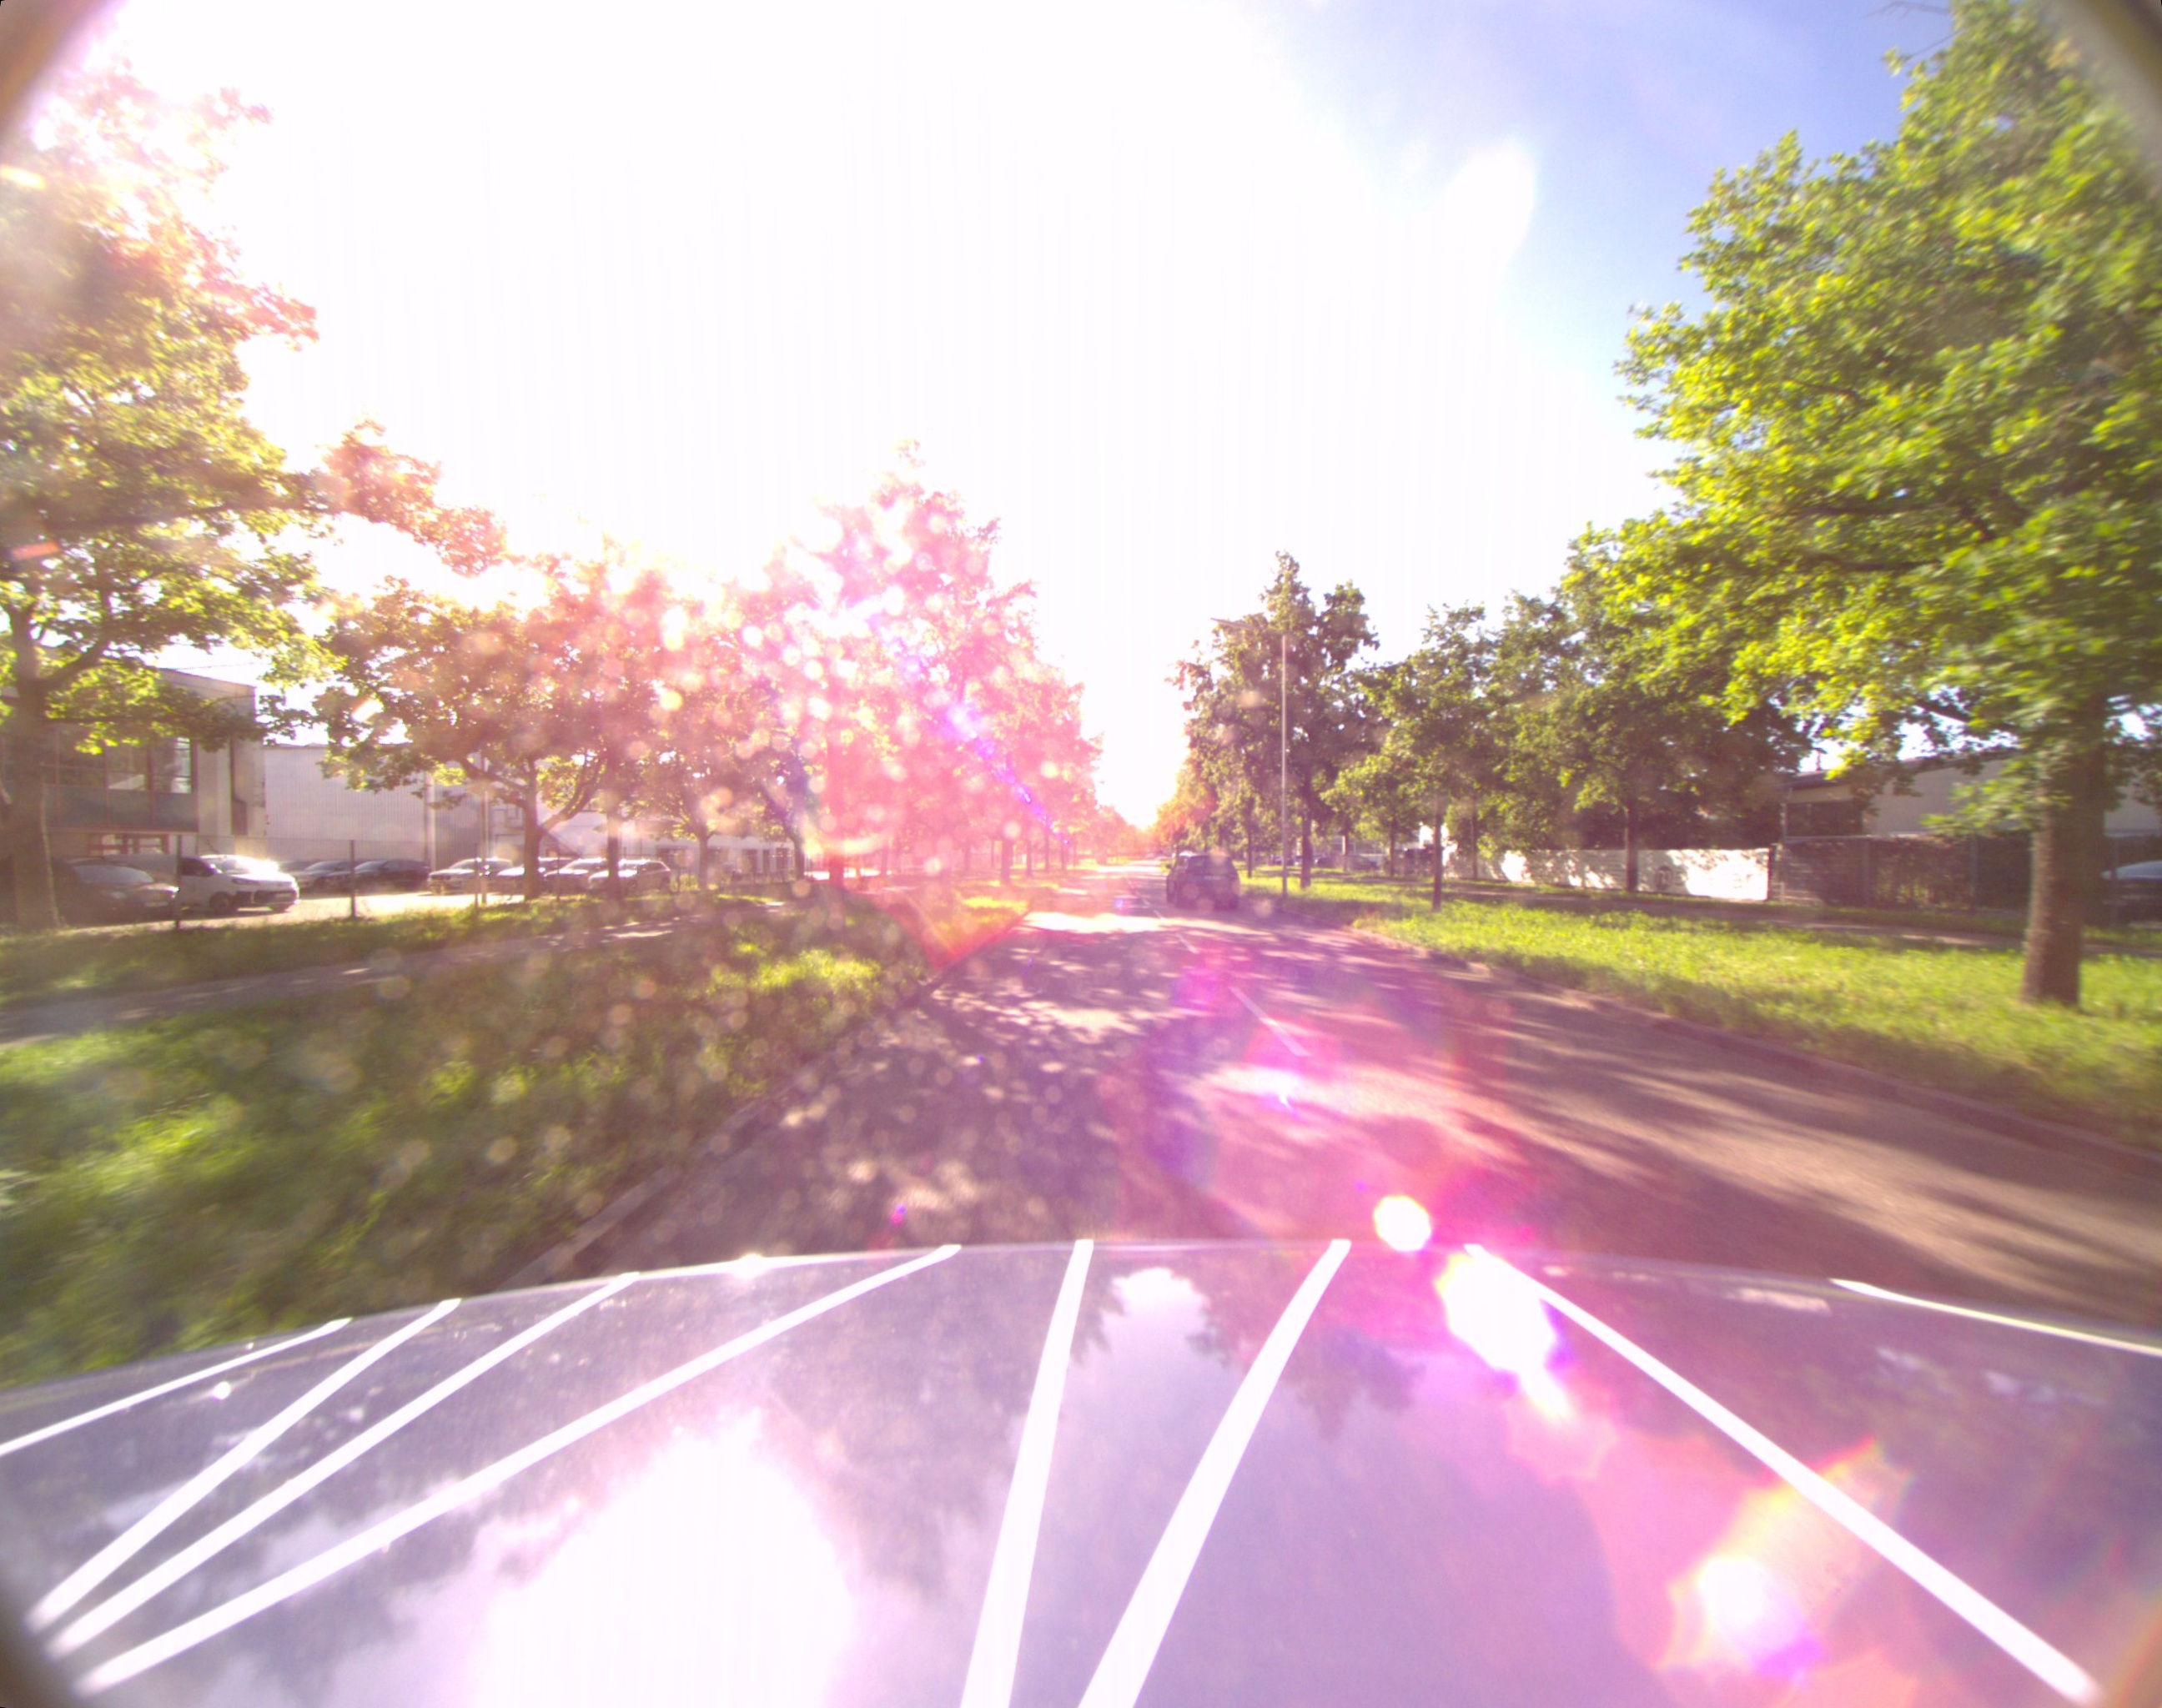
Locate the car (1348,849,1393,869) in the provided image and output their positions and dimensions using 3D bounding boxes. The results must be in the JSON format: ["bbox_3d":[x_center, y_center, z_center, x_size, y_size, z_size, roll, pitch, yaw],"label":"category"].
[{"bbox_3d":[29.413,0.540,77.165,3.989,2.002,2.004,0,0,32],"label":"car"}]

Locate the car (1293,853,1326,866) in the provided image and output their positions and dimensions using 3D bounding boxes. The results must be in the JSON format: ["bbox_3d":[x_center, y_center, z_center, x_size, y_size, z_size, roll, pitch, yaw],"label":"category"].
[{"bbox_3d":[29.594,0.757,98.391,3.885,1.493,2.003,-2,1,23],"label":"car"}]

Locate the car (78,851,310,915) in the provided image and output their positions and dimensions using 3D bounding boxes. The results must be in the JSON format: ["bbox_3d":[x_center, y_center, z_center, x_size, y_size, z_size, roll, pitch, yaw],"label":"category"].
[{"bbox_3d":[-28.692,0.911,24.718,5.077,1.948,1.894,1,1,-3],"label":"car"}]

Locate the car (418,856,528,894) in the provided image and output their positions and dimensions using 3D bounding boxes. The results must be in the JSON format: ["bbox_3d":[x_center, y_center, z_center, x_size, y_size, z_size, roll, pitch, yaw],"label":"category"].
[{"bbox_3d":[-30.327,0.989,38.104,1.999,1.663,4.454,-2,1,-3],"label":"car"}]

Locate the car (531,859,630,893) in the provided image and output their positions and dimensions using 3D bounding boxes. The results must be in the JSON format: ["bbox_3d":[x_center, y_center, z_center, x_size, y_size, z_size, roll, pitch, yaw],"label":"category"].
[{"bbox_3d":[-24.982,1.041,38.135,1.998,1.550,4.456,0,0,0],"label":"car"}]

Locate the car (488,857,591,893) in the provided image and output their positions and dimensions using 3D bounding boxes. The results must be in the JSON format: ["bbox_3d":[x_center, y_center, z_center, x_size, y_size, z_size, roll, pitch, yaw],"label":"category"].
[{"bbox_3d":[-27.274,0.996,38.479,1.998,1.663,4.456,0,0,0],"label":"car"}]

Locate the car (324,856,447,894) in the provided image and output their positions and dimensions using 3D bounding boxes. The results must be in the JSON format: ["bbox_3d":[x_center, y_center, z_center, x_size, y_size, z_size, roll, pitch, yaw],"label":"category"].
[{"bbox_3d":[-34.937,1.003,38.357,1.698,1.646,4.458,-2,1,7],"label":"car"}]

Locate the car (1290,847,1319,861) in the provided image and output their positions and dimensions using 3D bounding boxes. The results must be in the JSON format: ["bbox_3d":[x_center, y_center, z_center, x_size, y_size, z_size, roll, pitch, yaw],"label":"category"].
[{"bbox_3d":[32.390,0.011,109.921,4.007,1.827,1.995,-3,1,-37],"label":"car"}]

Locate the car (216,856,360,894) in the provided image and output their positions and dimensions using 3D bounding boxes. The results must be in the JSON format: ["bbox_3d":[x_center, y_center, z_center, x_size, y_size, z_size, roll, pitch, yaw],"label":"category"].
[{"bbox_3d":[-39.875,1.020,38.436,1.741,1.663,4.971,-2,1,5],"label":"car"}]

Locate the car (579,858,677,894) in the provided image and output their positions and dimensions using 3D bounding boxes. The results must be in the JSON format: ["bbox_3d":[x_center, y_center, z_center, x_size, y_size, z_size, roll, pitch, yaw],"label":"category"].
[{"bbox_3d":[-22.272,1.029,37.623,1.998,1.597,4.715,0,1,0],"label":"car"}]

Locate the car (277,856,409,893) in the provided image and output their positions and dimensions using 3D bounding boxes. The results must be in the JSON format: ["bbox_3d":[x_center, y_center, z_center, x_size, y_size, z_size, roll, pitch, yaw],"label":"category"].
[{"bbox_3d":[-37.390,0.975,38.686,1.704,1.663,4.721,-2,1,7],"label":"car"}]

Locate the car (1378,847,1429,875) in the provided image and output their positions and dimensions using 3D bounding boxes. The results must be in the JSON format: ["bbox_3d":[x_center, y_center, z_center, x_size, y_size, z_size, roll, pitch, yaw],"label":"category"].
[{"bbox_3d":[26.217,0.555,61.960,1.998,2.162,5.672,-1,0,3],"label":"car"}]

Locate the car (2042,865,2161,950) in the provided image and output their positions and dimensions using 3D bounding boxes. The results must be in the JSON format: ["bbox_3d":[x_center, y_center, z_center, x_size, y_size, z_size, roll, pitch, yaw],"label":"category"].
[{"bbox_3d":[22.987,1.031,15.457,3.996,1.510,2.198,-2,1,2],"label":"car"}]

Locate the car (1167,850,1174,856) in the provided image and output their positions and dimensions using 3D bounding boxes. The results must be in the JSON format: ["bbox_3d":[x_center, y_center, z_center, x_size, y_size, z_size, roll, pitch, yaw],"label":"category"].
[{"bbox_3d":[30.038,-0.438,255.192,1.997,2.002,4.003,0,0,9],"label":"car"}]

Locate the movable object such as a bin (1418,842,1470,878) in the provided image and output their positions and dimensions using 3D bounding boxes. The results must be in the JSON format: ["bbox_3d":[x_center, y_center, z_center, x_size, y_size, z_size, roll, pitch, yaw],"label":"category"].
[{"bbox_3d":[26.622,0.425,55.869,1.998,2.501,4.236,-2,1,4],"label":"movable object such as a bin"}]

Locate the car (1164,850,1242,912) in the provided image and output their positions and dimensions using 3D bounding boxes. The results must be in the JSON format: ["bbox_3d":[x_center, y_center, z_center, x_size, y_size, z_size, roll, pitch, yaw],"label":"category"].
[{"bbox_3d":[3.619,0.749,23.194,1.772,1.663,4.199,1,1,1],"label":"car"}]

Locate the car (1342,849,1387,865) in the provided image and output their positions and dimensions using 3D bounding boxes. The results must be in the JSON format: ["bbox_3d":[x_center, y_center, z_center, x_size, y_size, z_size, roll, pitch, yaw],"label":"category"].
[{"bbox_3d":[35.923,0.438,96.257,5.038,1.827,2.003,-2,1,26],"label":"car"}]

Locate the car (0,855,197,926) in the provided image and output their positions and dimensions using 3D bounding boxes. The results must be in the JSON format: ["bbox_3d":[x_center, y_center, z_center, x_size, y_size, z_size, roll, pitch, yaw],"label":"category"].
[{"bbox_3d":[-28.764,0.996,21.491,4.961,1.873,1.999,0,1,-3],"label":"car"}]
